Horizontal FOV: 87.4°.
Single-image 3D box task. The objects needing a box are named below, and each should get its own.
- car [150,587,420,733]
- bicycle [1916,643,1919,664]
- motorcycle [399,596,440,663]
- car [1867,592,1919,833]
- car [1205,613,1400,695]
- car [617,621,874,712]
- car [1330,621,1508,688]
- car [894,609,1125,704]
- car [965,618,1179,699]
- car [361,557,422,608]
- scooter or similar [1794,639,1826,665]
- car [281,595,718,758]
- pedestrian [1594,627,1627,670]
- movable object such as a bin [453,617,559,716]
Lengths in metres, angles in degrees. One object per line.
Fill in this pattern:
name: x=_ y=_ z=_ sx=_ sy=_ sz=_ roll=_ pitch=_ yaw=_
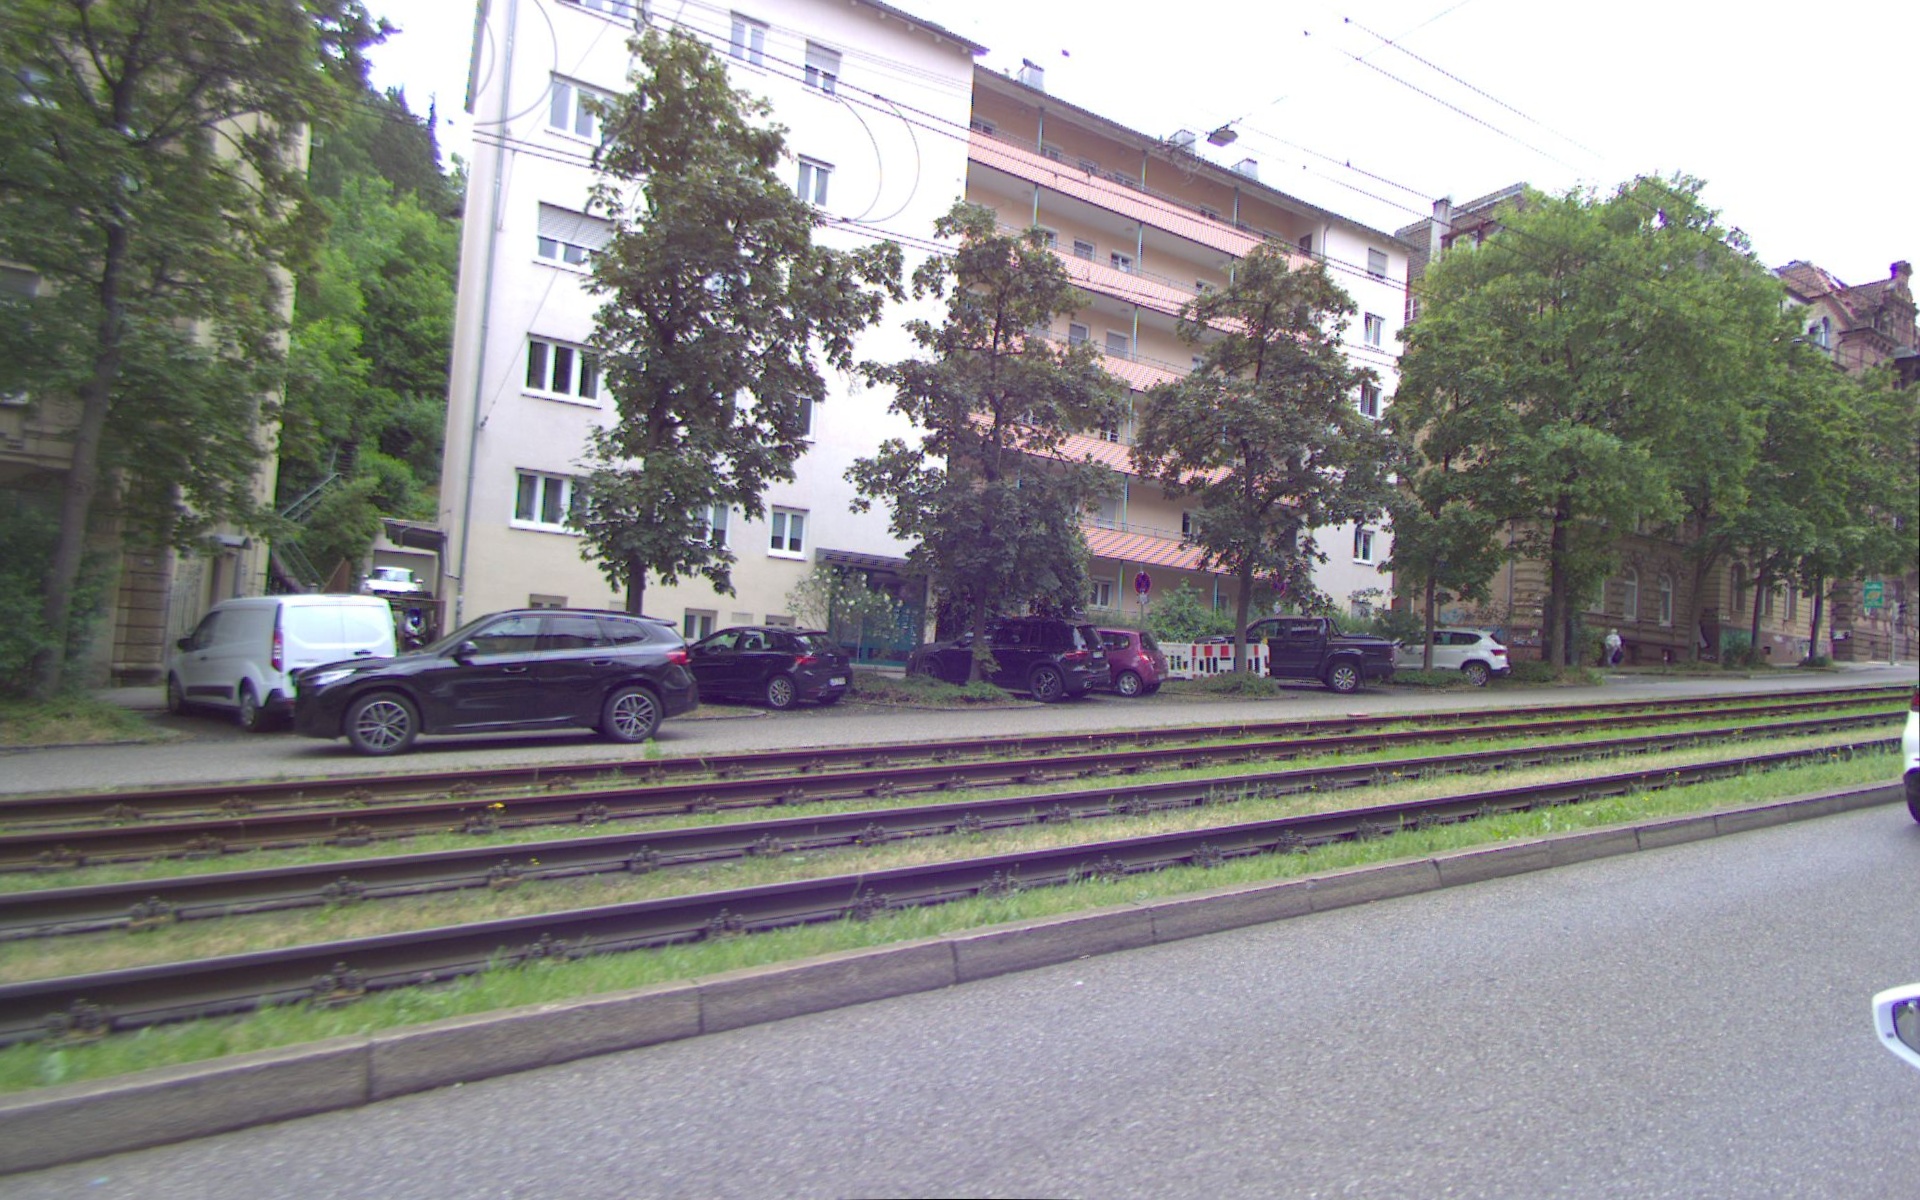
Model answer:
car: x=-9.996 y=0.809 z=14.803 sx=4.121 sy=1.860 sz=1.866 roll=0 pitch=-2 yaw=34
bicycle: x=52.341 y=2.886 z=53.796 sx=2.671 sy=1.114 sz=0.934 roll=2 pitch=-1 yaw=-30
motorcycle: x=-12.195 y=0.658 z=22.696 sx=0.759 sy=1.436 sz=2.167 roll=1 pitch=-1 yaw=-28
car: x=9.054 y=0.864 z=7.689 sx=4.616 sy=1.689 sz=1.826 roll=2 pitch=0 yaw=-31
car: x=8.604 y=1.314 z=25.660 sx=4.514 sy=1.821 sz=1.937 roll=2 pitch=0 yaw=14
car: x=-4.067 y=1.165 z=18.930 sx=4.523 sy=1.362 sz=1.934 roll=2 pitch=0 yaw=28
car: x=13.292 y=1.523 z=29.205 sx=4.522 sy=1.639 sz=1.934 roll=2 pitch=0 yaw=27
car: x=1.031 y=1.126 z=21.491 sx=4.523 sy=1.704 sz=1.934 roll=2 pitch=0 yaw=28
car: x=2.584 y=1.286 z=23.380 sx=4.523 sy=1.569 sz=1.934 roll=2 pitch=0 yaw=28
car: x=-20.180 y=-0.559 z=35.634 sx=1.779 sy=1.644 sz=3.967 roll=1 pitch=-2 yaw=-30
scooter or similar: x=43.064 y=2.619 z=50.872 sx=2.191 sy=1.271 sz=0.625 roll=2 pitch=-1 yaw=-32
car: x=-5.478 y=0.875 z=12.313 sx=4.554 sy=1.671 sz=1.908 roll=1 pitch=-3 yaw=-31
pedestrian: x=26.291 y=1.942 z=40.577 sx=0.839 sy=1.706 sz=0.827 roll=2 pitch=-2 yaw=-31
movable object such as a bin: x=-6.983 y=0.991 z=15.447 sx=1.261 sy=1.419 sz=1.089 roll=1 pitch=-1 yaw=45
